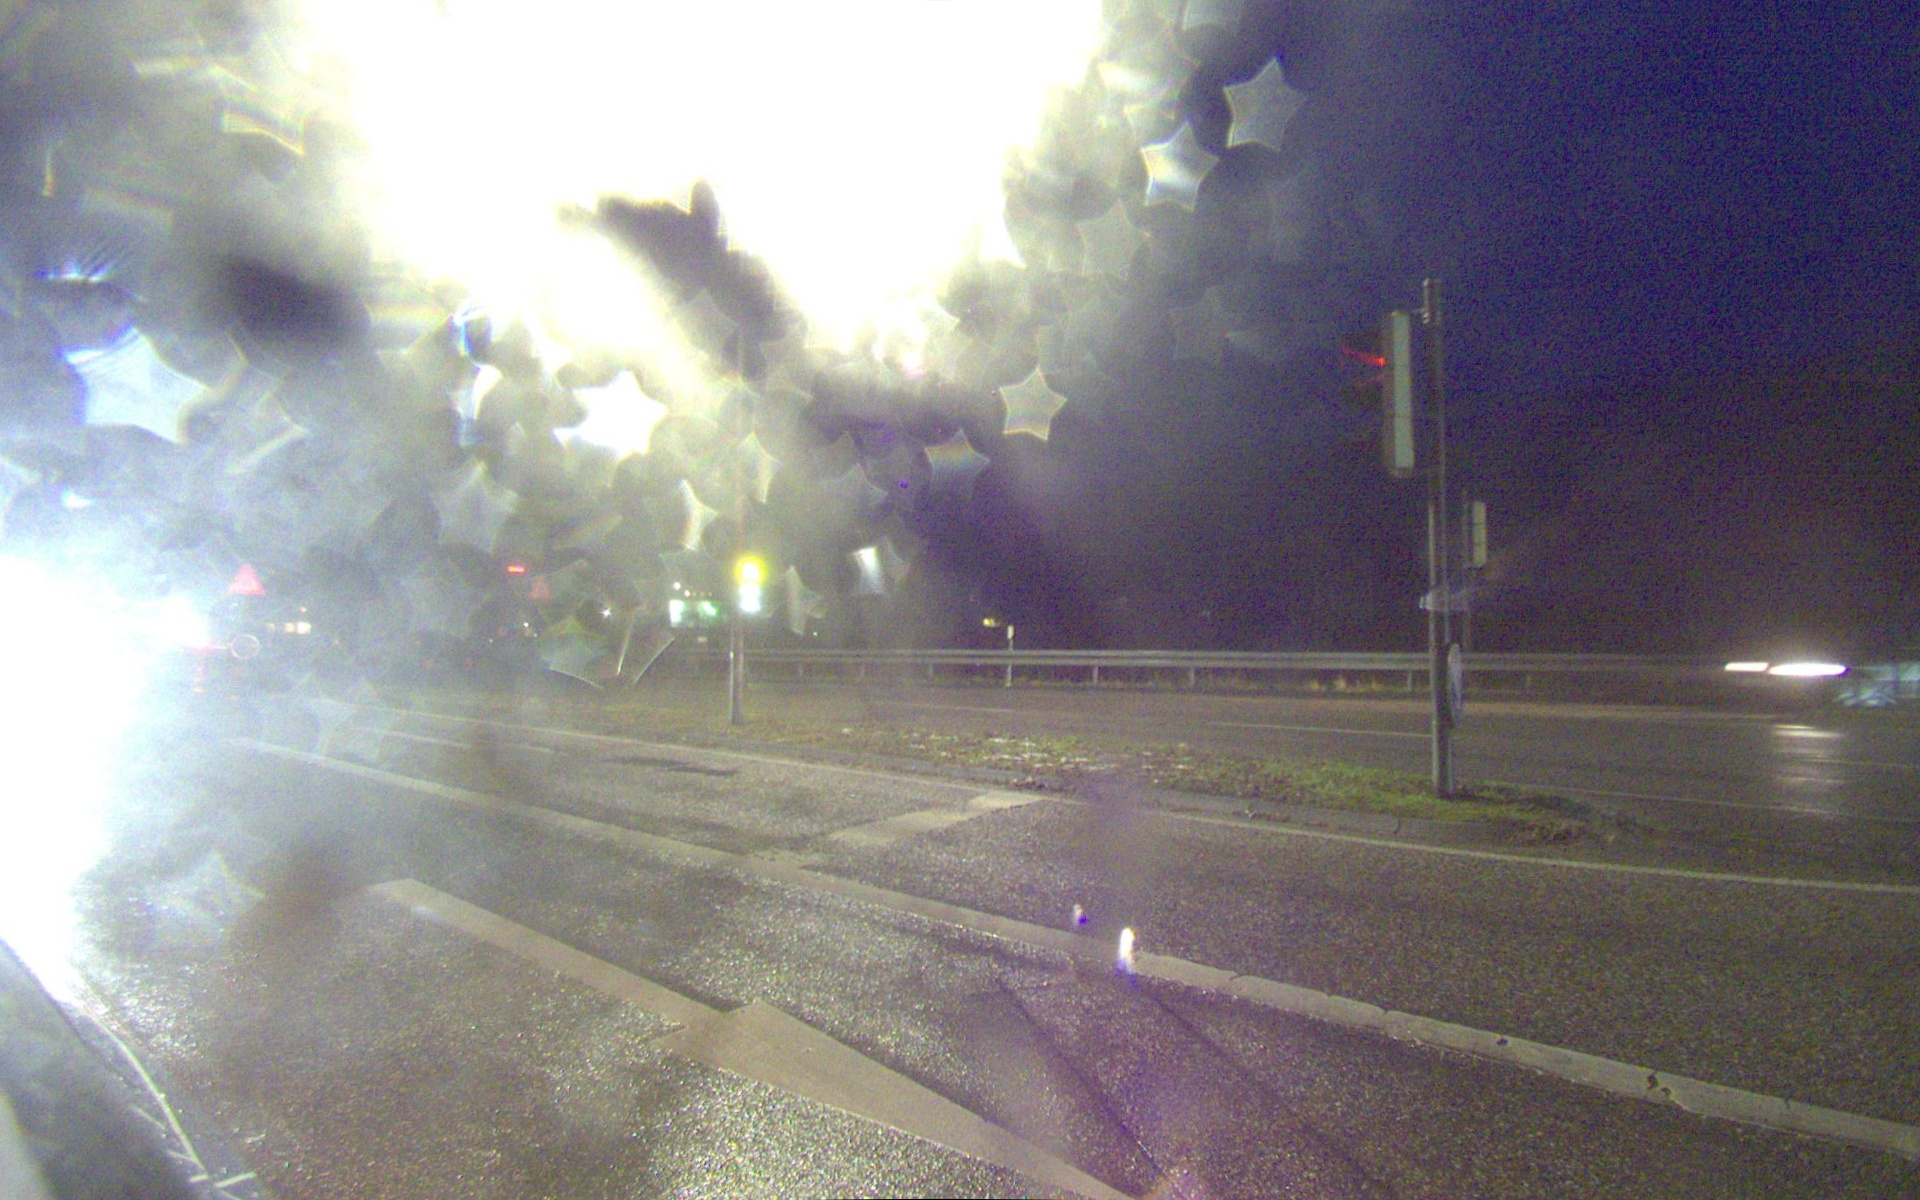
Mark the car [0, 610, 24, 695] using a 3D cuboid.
[{"bbox_3d":[-21.813,1.107,21.590,4.931,1.717,1.891,-1,-2,37],"label":"car"}]

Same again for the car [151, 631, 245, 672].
[{"bbox_3d":[-31.594,2.085,41.932,4.882,1.515,1.731,0,0,36],"label":"car"}]

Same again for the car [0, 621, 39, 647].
[{"bbox_3d":[-63.833,2.279,68.536,4.506,1.665,1.689,0,0,42],"label":"car"}]

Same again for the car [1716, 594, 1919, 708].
[{"bbox_3d":[13.616,0.750,14.334,4.325,1.510,1.654,1,-3,9],"label":"car"}]

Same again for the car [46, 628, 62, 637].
[{"bbox_3d":[-162.313,5.862,181.303,1.780,1.435,4.214,0,0,-37],"label":"car"}]
